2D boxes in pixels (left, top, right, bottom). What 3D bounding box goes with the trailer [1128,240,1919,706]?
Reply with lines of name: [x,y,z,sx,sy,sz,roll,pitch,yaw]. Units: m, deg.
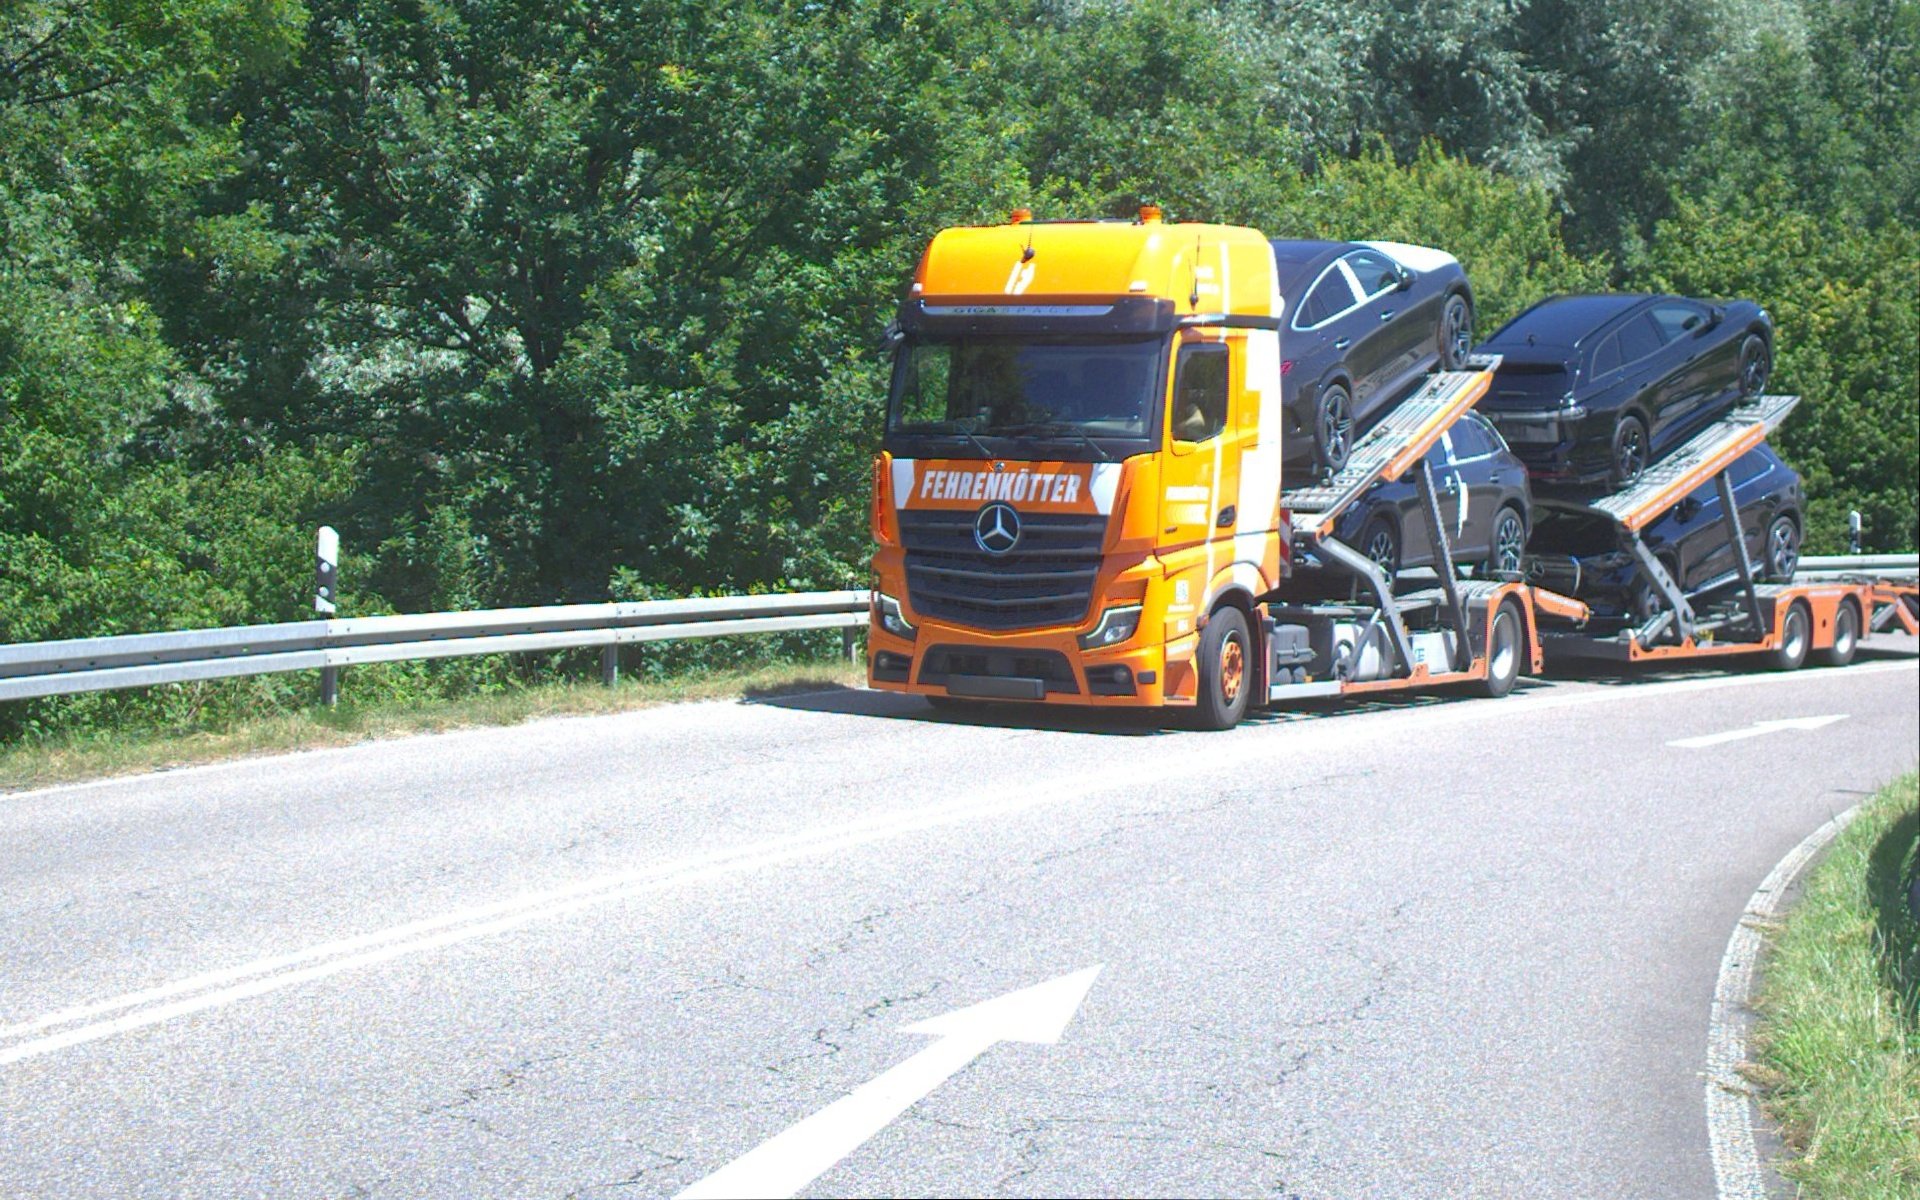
trailer: [6.888,-1.151,35.055,2.799,3.884,13.956,3,2,37]

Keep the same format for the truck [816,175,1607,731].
truck: [2.432,-1.124,28.483,2.794,3.884,8.765,3,2,31]
